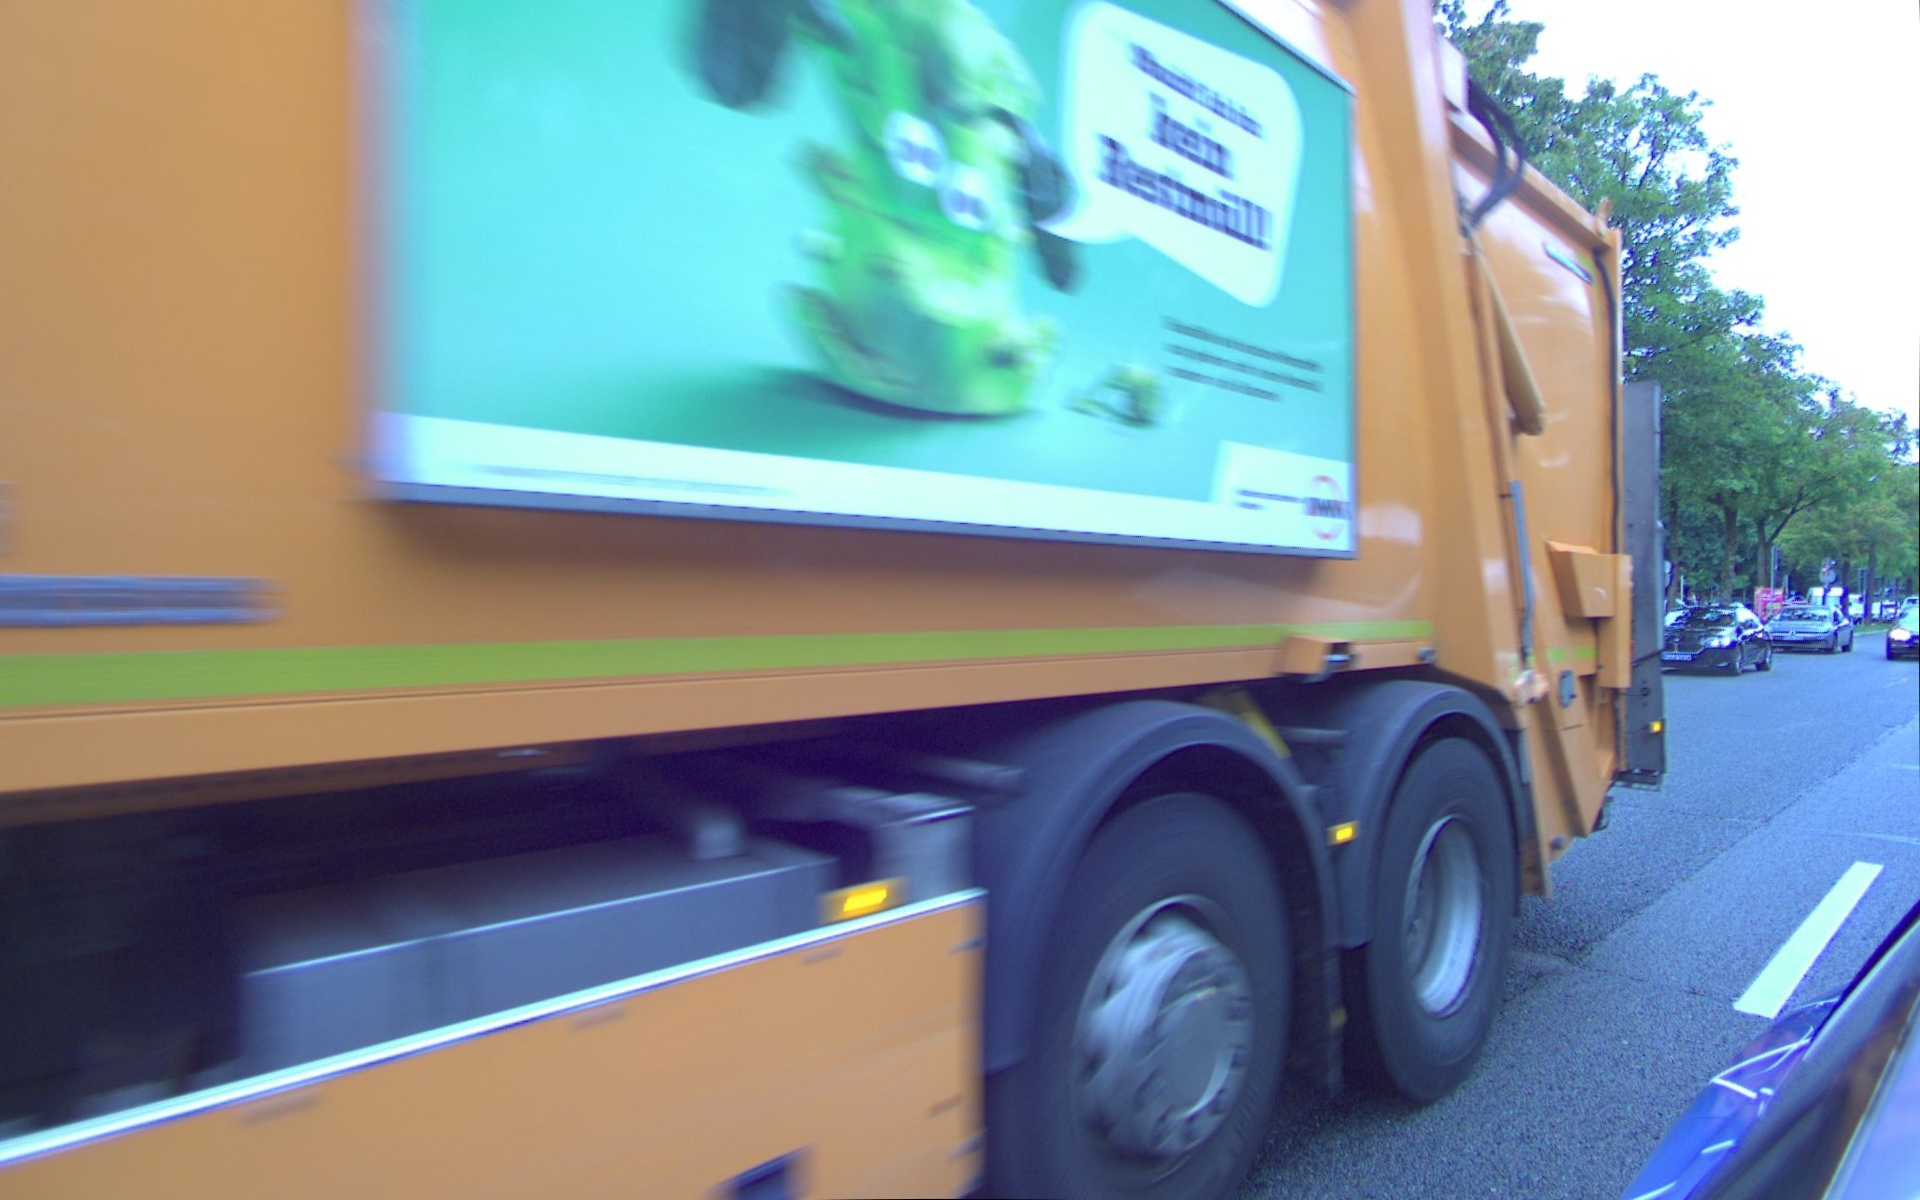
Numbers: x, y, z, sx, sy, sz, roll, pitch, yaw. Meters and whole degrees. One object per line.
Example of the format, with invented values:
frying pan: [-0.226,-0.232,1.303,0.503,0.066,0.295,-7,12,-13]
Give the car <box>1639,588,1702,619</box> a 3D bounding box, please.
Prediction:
car: [39.664,0.181,56.456,4.122,1.654,1.826,0,2,-39]

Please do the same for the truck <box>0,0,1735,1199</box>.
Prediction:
truck: [-0.483,-0.195,2.943,8.981,3.229,3.041,0,0,-44]

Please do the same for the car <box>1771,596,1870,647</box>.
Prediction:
car: [26.609,0.624,31.255,4.042,1.484,1.685,0,0,-40]

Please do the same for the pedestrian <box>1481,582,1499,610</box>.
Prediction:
pedestrian: [30.327,-0.236,57.938,0.569,1.594,0.782,0,0,-6]

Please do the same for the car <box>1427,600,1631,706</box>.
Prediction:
car: [8.797,0.712,15.491,4.174,1.403,1.637,0,0,-44]

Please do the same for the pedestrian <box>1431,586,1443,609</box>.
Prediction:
pedestrian: [32.407,-0.180,68.721,0.624,1.561,0.656,3,3,22]

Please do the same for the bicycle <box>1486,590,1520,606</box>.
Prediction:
bicycle: [39.187,-0.130,73.061,0.447,1.134,2.079,0,1,-41]

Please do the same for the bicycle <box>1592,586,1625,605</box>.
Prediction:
bicycle: [57.289,-0.413,89.429,0.638,1.643,2.312,0,1,-41]

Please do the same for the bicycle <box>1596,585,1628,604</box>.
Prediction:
bicycle: [57.969,-0.468,89.999,0.638,1.643,2.312,0,1,-41]

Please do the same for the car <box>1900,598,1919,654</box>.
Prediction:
car: [27.016,0.665,27.412,4.586,1.461,1.798,0,-1,-41]

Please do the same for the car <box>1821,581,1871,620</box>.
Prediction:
car: [62.583,0.037,71.458,5.902,2.691,1.976,0,-1,-42]

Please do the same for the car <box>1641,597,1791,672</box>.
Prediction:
car: [16.525,0.679,22.065,4.102,1.484,1.754,0,0,-40]

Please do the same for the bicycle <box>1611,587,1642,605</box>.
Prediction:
bicycle: [61.432,-0.400,93.300,2.298,1.643,0.642,1,1,33]

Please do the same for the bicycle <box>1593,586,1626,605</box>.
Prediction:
bicycle: [56.792,-0.404,88.544,0.638,1.551,2.312,0,1,-41]

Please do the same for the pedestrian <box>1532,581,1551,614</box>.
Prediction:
pedestrian: [30.578,-0.138,53.227,0.628,1.752,0.602,0,0,-21]
